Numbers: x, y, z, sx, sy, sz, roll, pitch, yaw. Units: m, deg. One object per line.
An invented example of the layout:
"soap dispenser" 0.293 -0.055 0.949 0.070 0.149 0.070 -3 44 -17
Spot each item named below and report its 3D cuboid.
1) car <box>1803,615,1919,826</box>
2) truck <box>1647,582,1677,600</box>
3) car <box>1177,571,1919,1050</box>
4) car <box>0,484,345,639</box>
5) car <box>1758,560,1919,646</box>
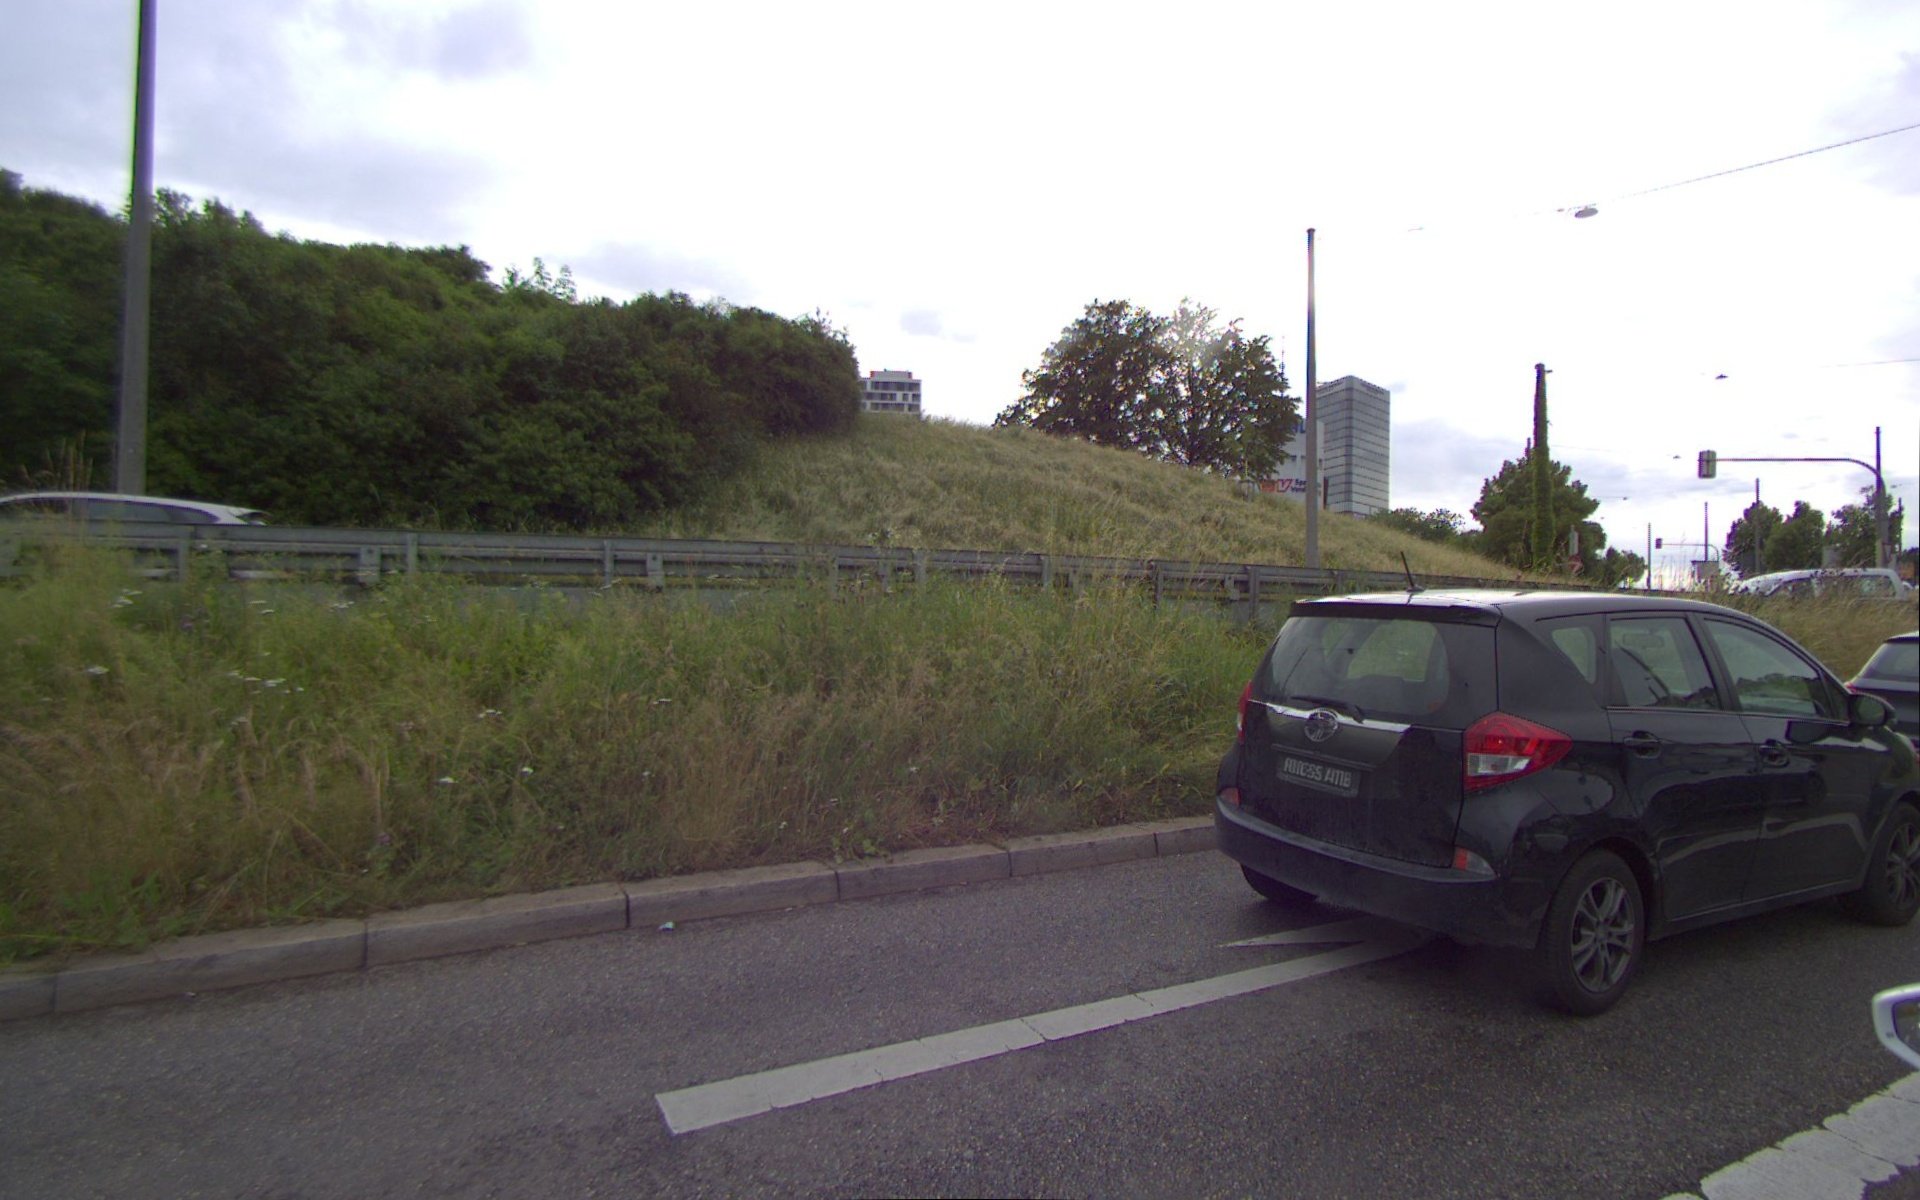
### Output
"car" 8.658 0.881 7.781 4.058 1.479 1.698 1 -1 -25
"truck" 133.837 -1.748 191.592 3.205 3.116 6.172 4 3 22
"car" 3.065 0.703 4.872 3.731 1.525 1.635 1 2 -28
"car" -9.051 -0.391 11.231 3.634 1.537 1.727 1 1 -30
"car" 21.419 0.056 23.148 4.605 1.874 1.822 -1 0 0
